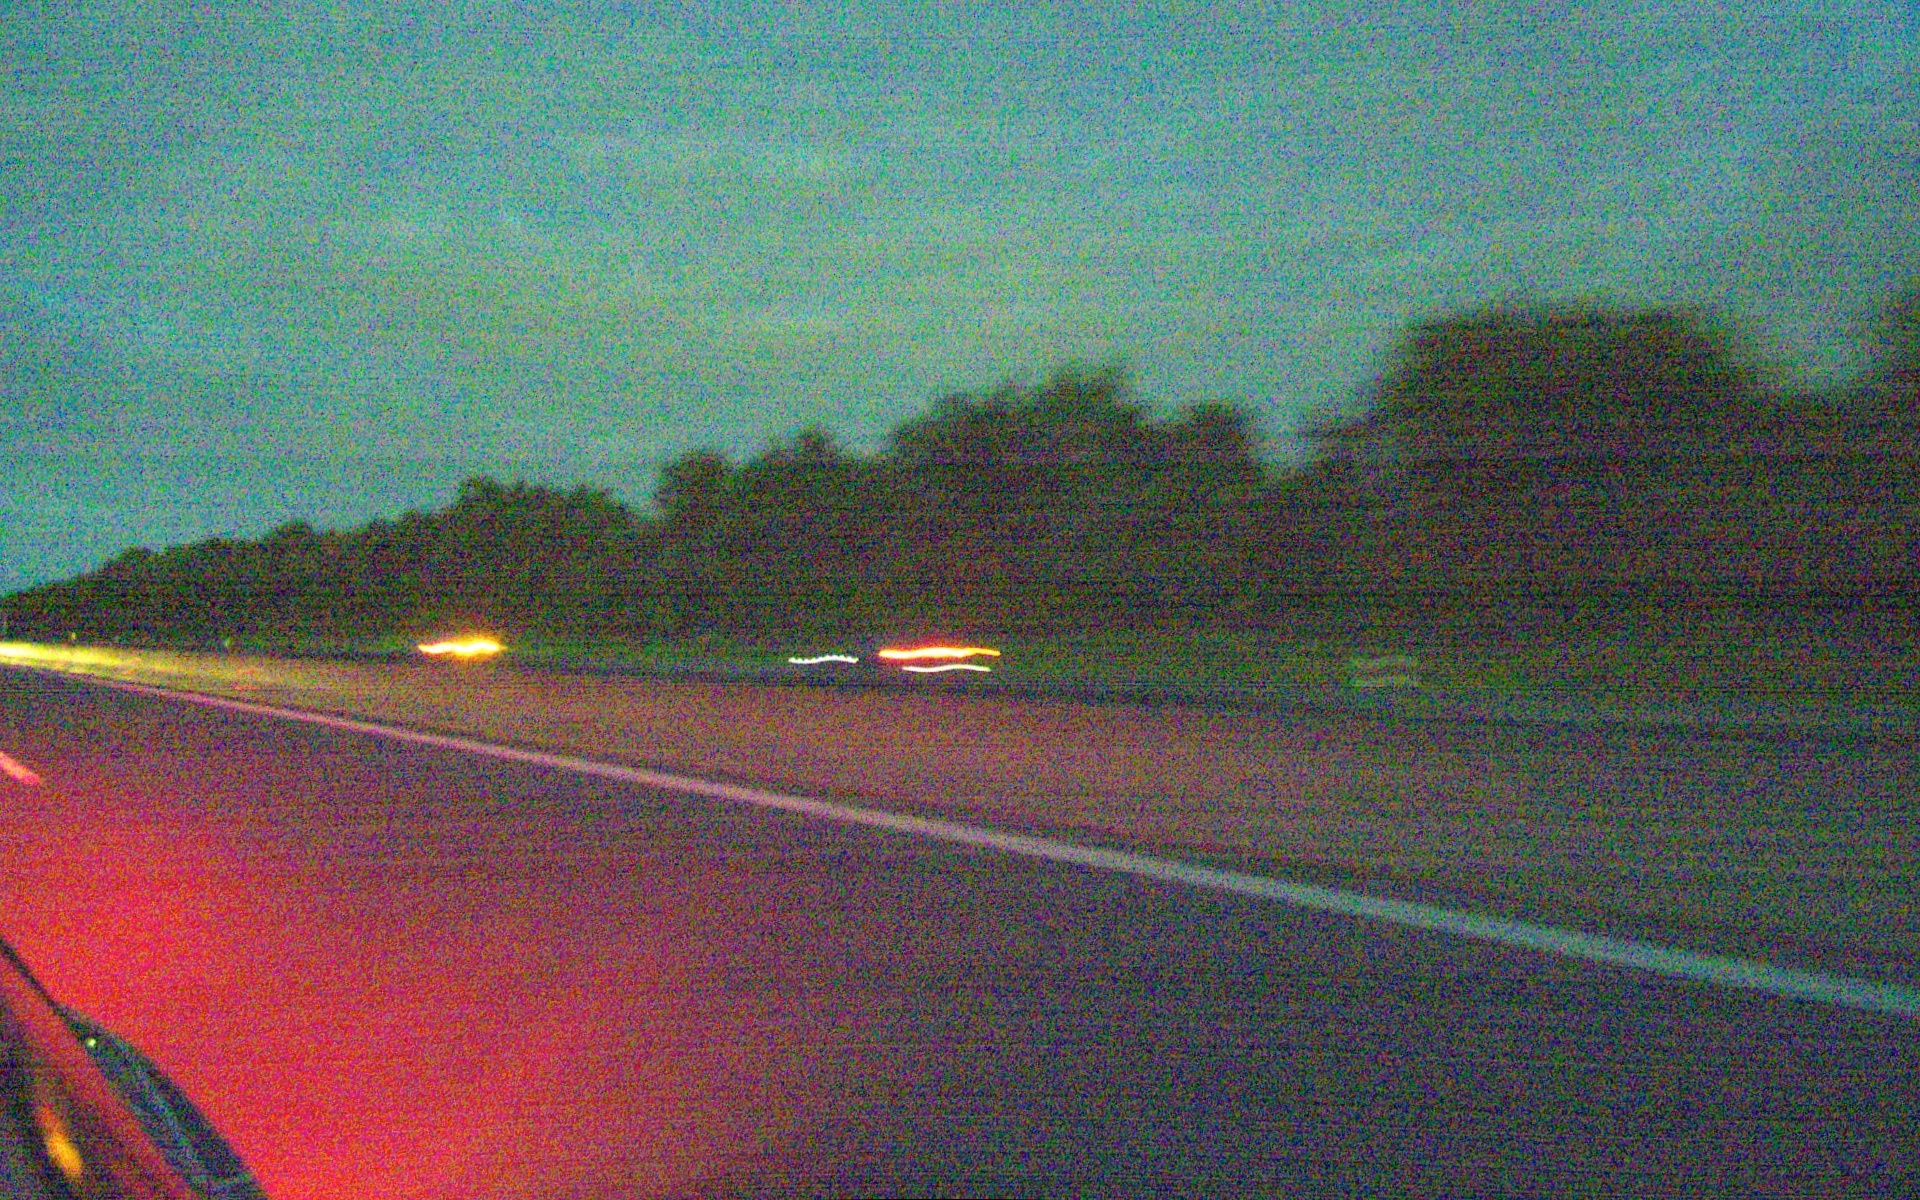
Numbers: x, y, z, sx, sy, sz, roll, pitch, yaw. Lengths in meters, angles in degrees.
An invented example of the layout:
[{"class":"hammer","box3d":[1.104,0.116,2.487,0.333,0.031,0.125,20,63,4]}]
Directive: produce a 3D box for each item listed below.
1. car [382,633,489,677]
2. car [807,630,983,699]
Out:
[{"class":"car","box3d":[-19.088,1.945,36.739,4.653,1.482,1.883,-2,-2,41]},{"class":"car","box3d":[-1.782,1.608,26.486,4.653,1.633,1.883,-2,-2,41]}]
